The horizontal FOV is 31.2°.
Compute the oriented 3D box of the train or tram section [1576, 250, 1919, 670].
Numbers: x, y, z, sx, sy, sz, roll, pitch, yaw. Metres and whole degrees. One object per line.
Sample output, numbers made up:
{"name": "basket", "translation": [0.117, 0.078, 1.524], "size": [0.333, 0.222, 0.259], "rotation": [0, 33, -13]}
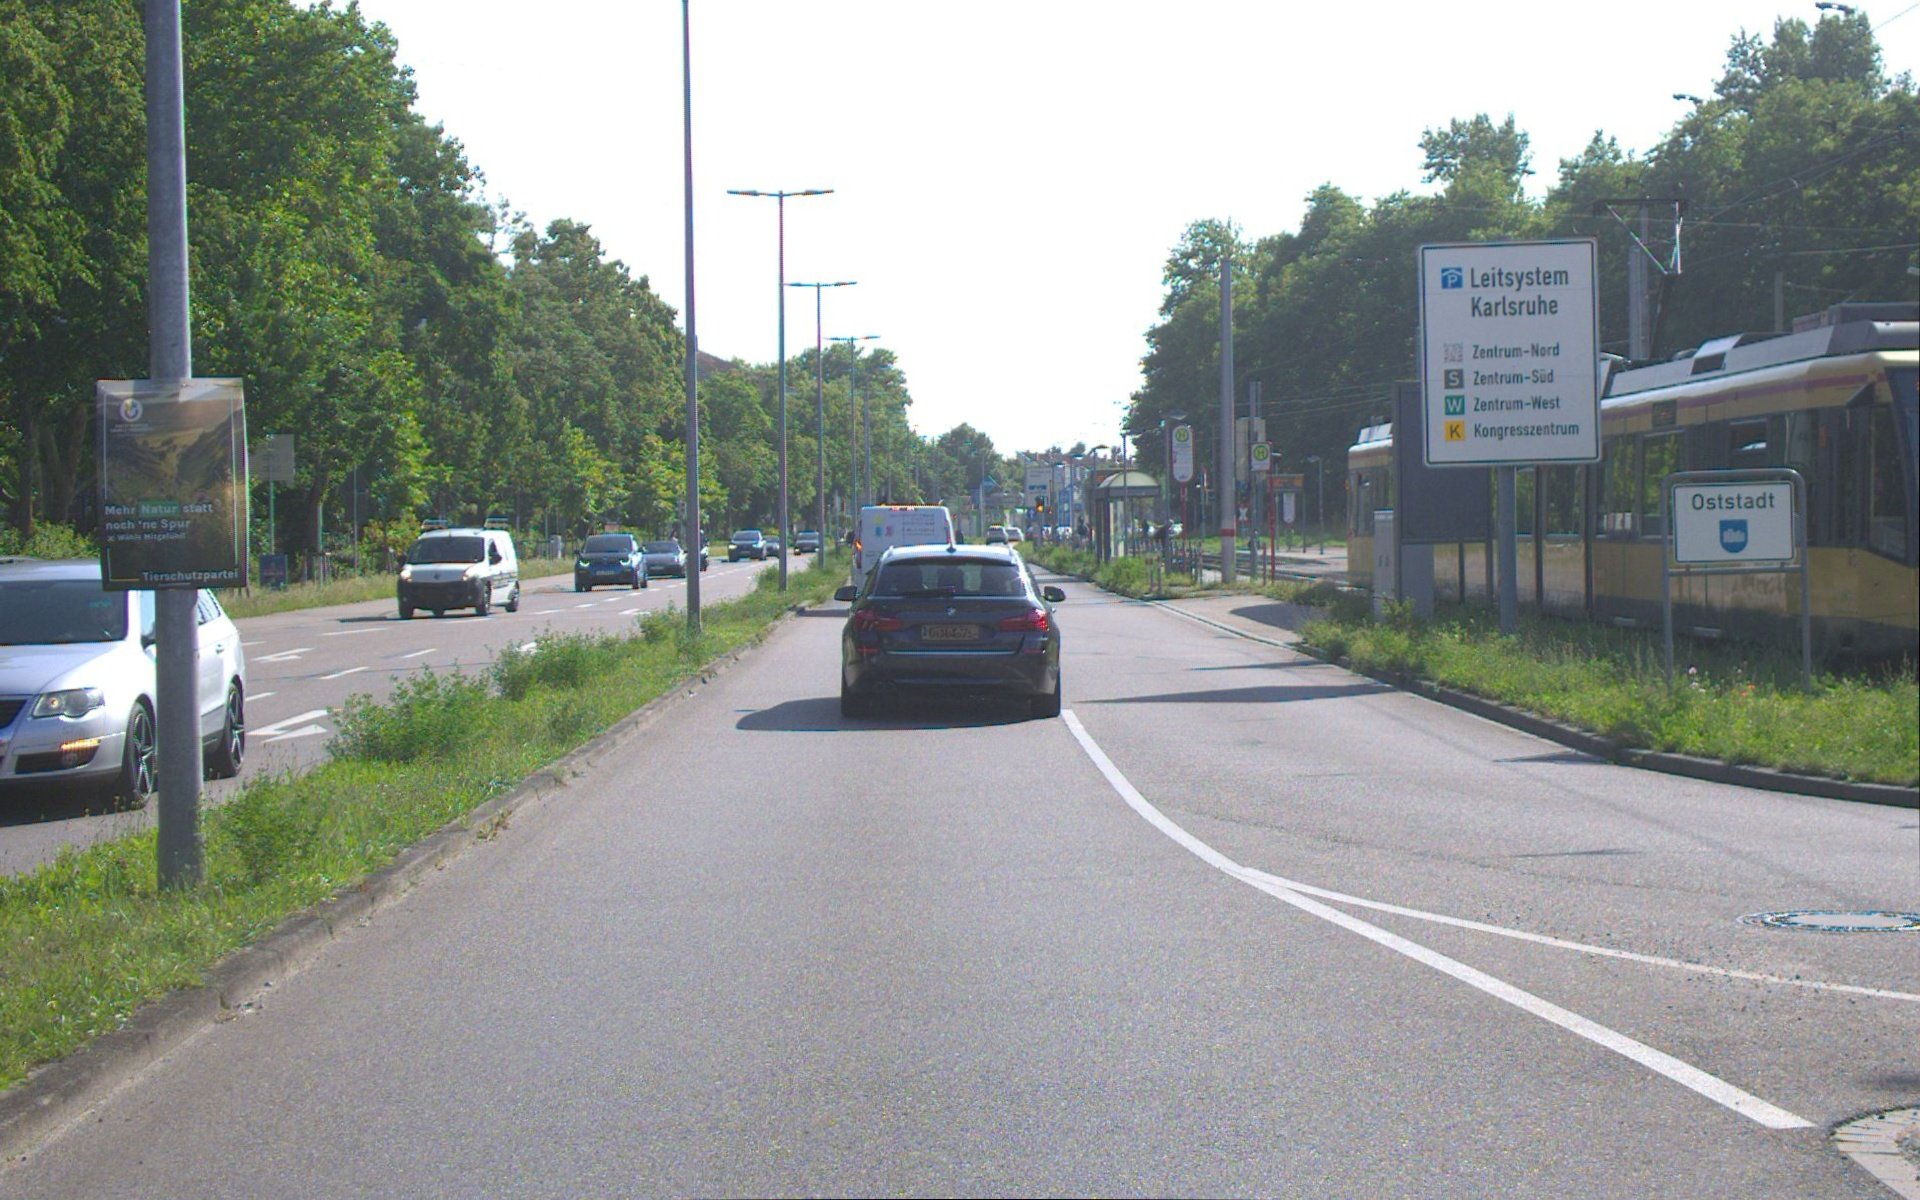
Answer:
{"name": "train or tram section", "translation": [9.098, -1.328, 35.970], "size": [2.796, 3.606, 12.957], "rotation": [0, 1, -1]}

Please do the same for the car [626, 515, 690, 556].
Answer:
{"name": "car", "translation": [-10.361, -2.240, 118.321], "size": [1.788, 1.323, 4.737], "rotation": [-1, 2, 0]}

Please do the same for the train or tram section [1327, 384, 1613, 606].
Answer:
{"name": "train or tram section", "translation": [8.771, -1.784, 61.171], "size": [2.685, 3.469, 14.971], "rotation": [0, 1, -1]}

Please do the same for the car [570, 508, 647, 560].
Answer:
{"name": "car", "translation": [-9.968, -1.900, 97.680], "size": [1.788, 1.410, 4.387], "rotation": [-1, 2, -1]}

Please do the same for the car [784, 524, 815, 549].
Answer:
{"name": "car", "translation": [-10.426, -4.154, 223.442], "size": [1.849, 1.546, 4.001], "rotation": [-1, 2, -1]}

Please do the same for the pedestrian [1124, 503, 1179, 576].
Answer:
{"name": "pedestrian", "translation": [4.297, -1.367, 77.271], "size": [1.000, 1.628, 0.720], "rotation": [0, 2, 34]}

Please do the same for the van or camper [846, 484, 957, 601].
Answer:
{"name": "van or camper", "translation": [-1.079, -1.116, 64.777], "size": [1.993, 2.089, 4.599], "rotation": [-1, 2, 0]}

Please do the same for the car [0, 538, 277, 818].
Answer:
{"name": "car", "translation": [-5.675, 0.413, 21.359], "size": [1.848, 1.472, 4.646], "rotation": [-2, 2, 1]}

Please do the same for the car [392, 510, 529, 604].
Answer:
{"name": "car", "translation": [-10.048, -0.901, 69.442], "size": [1.789, 1.766, 4.569], "rotation": [-2, 2, 4]}

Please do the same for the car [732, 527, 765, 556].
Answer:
{"name": "car", "translation": [-11.225, -3.106, 182.405], "size": [1.533, 1.481, 4.001], "rotation": [-1, 2, -1]}

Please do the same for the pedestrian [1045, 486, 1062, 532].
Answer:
{"name": "pedestrian", "translation": [4.156, -4.059, 153.230], "size": [0.698, 2.006, 0.702], "rotation": [0, 2, -1]}

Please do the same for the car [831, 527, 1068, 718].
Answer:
{"name": "car", "translation": [-0.068, 0.142, 30.067], "size": [1.903, 1.500, 4.065], "rotation": [-1, 2, 1]}

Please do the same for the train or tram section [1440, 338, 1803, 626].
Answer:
{"name": "train or tram section", "translation": [8.948, -1.565, 48.043], "size": [2.750, 3.541, 11.258], "rotation": [0, 1, -1]}
